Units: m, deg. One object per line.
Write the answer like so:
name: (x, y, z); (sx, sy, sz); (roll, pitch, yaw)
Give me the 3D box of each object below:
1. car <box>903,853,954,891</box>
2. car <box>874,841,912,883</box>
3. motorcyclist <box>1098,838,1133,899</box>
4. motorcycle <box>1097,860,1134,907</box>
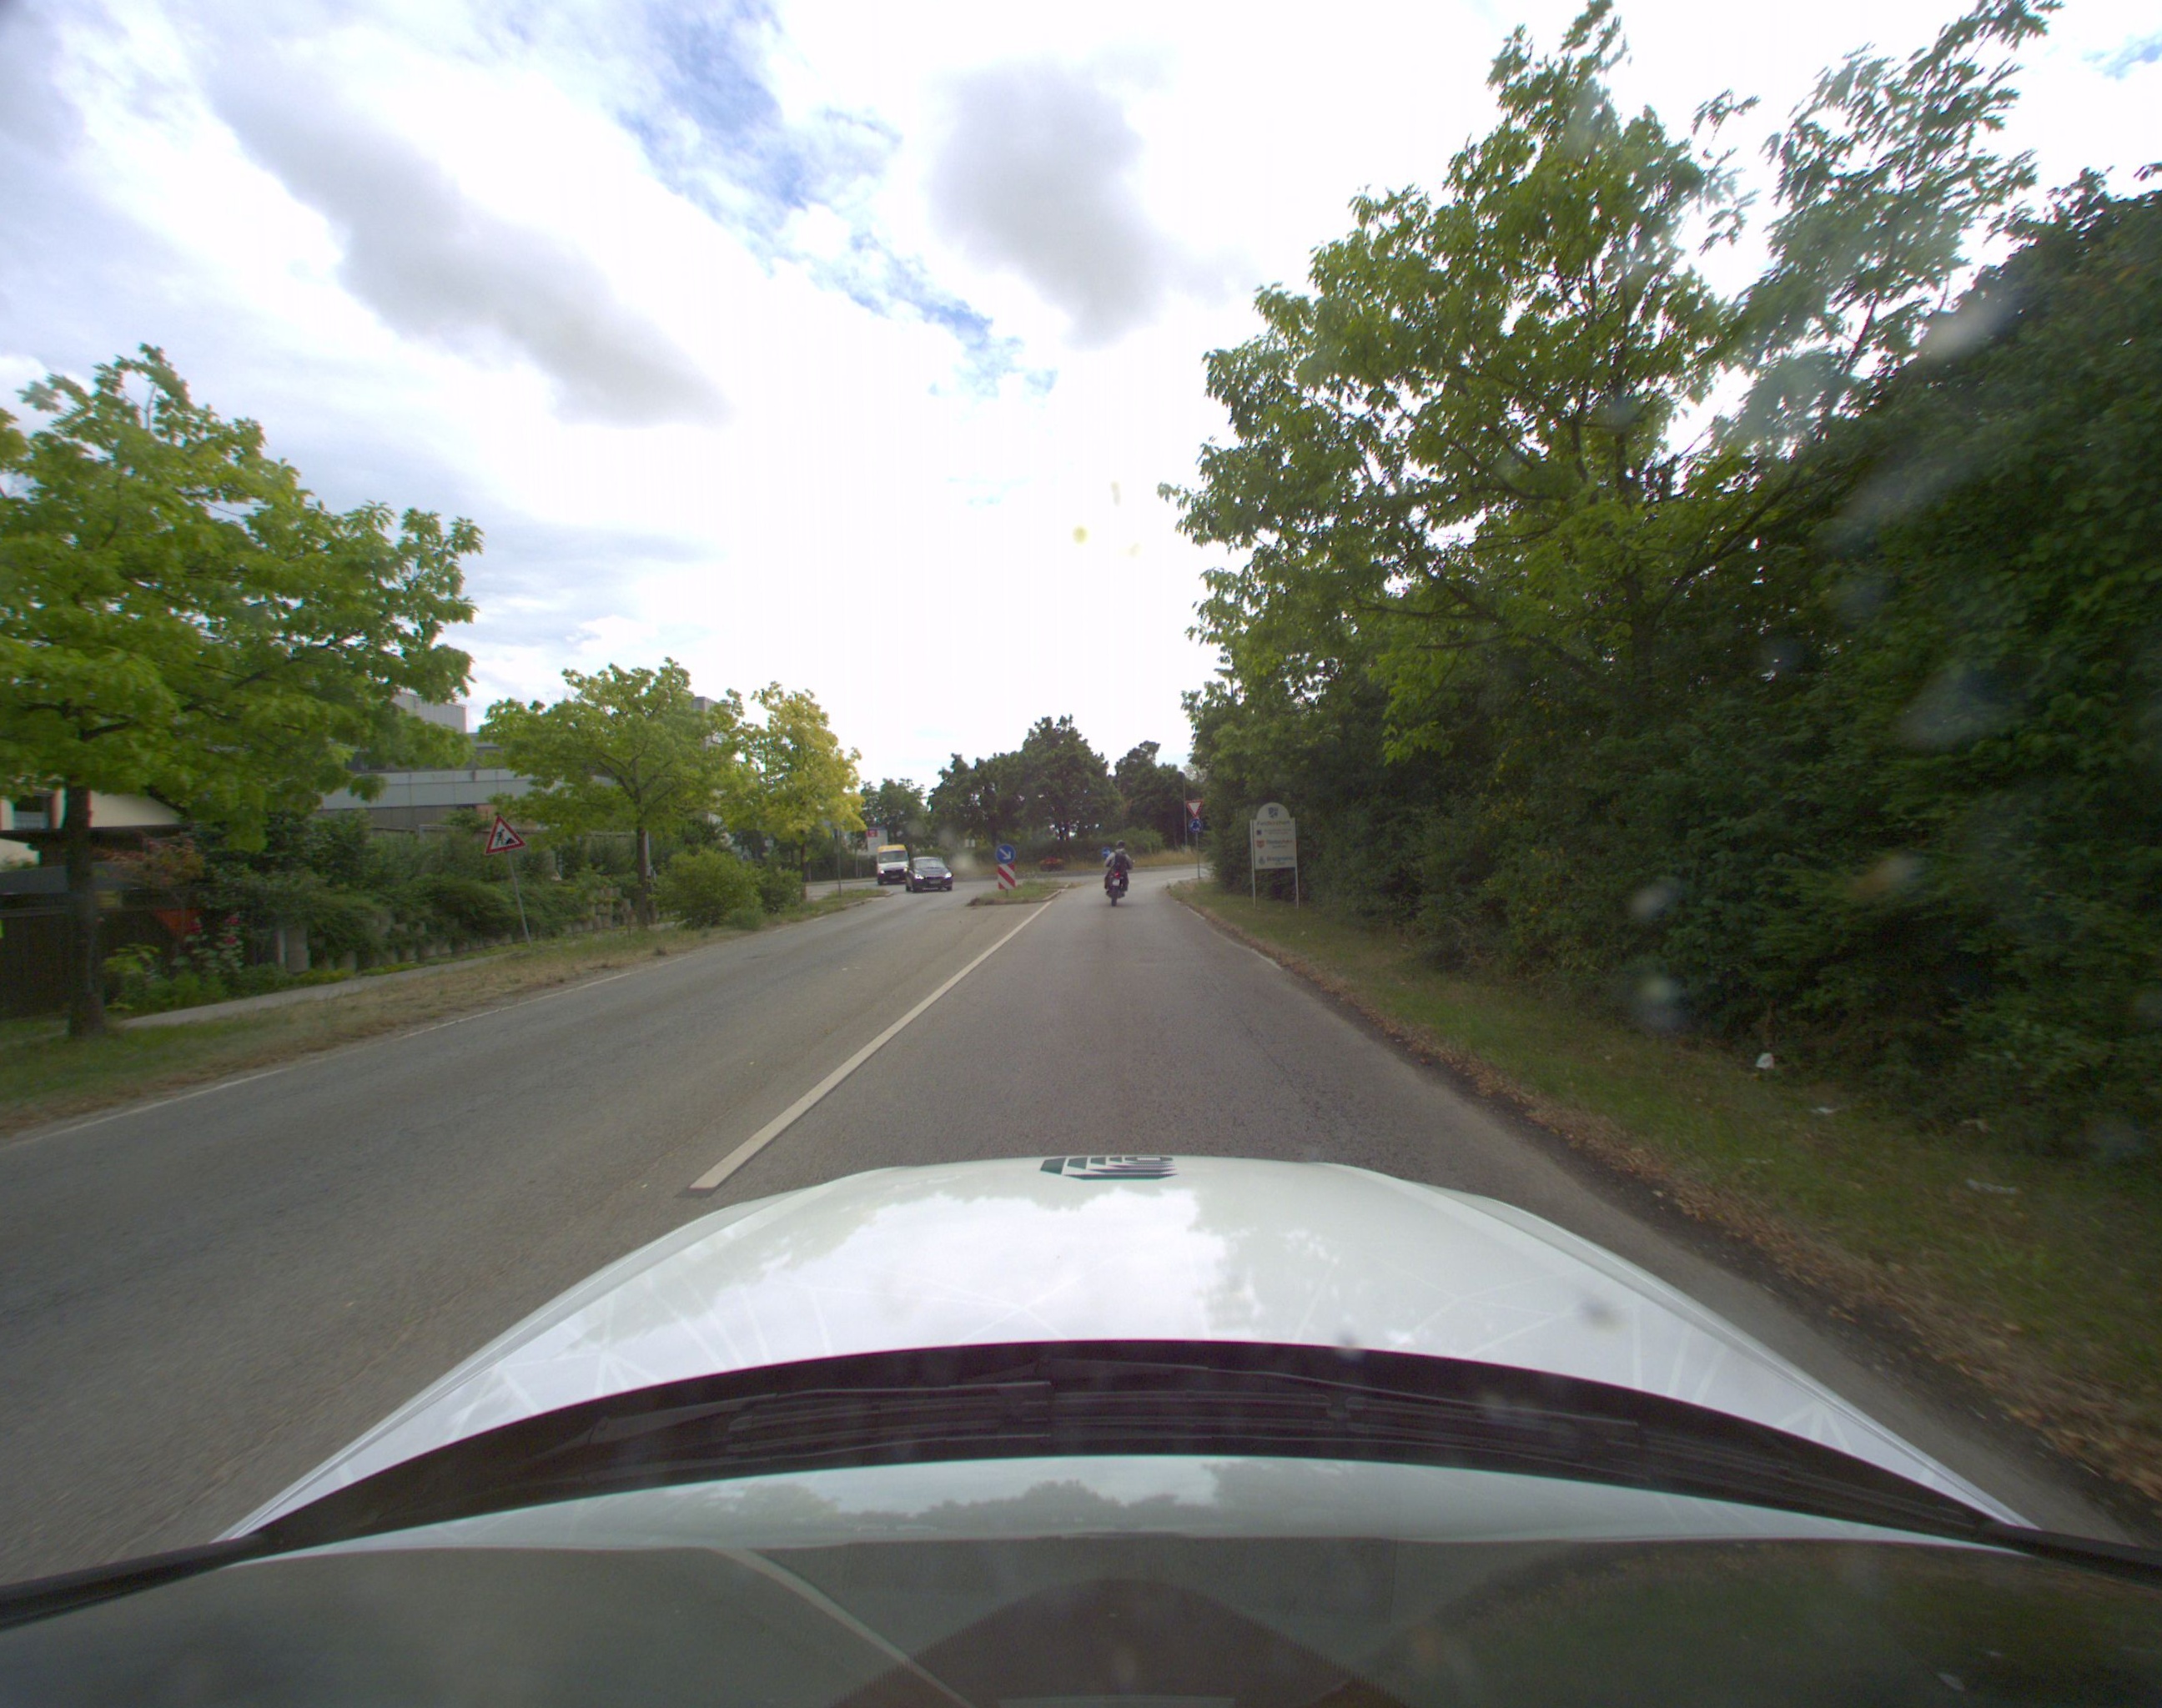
car: (-7.281, 0.840, 38.567); (1.743, 1.585, 4.328); (-4, 0, -19)
car: (-12.124, 0.509, 52.462); (2.165, 2.452, 5.417); (-3, 0, -13)
motorcyclist: (0.966, 0.388, 22.461); (0.857, 1.623, 1.192); (-2, 0, 4)
motorcycle: (0.980, 0.776, 22.485); (0.892, 1.158, 2.623); (-2, 0, 4)
